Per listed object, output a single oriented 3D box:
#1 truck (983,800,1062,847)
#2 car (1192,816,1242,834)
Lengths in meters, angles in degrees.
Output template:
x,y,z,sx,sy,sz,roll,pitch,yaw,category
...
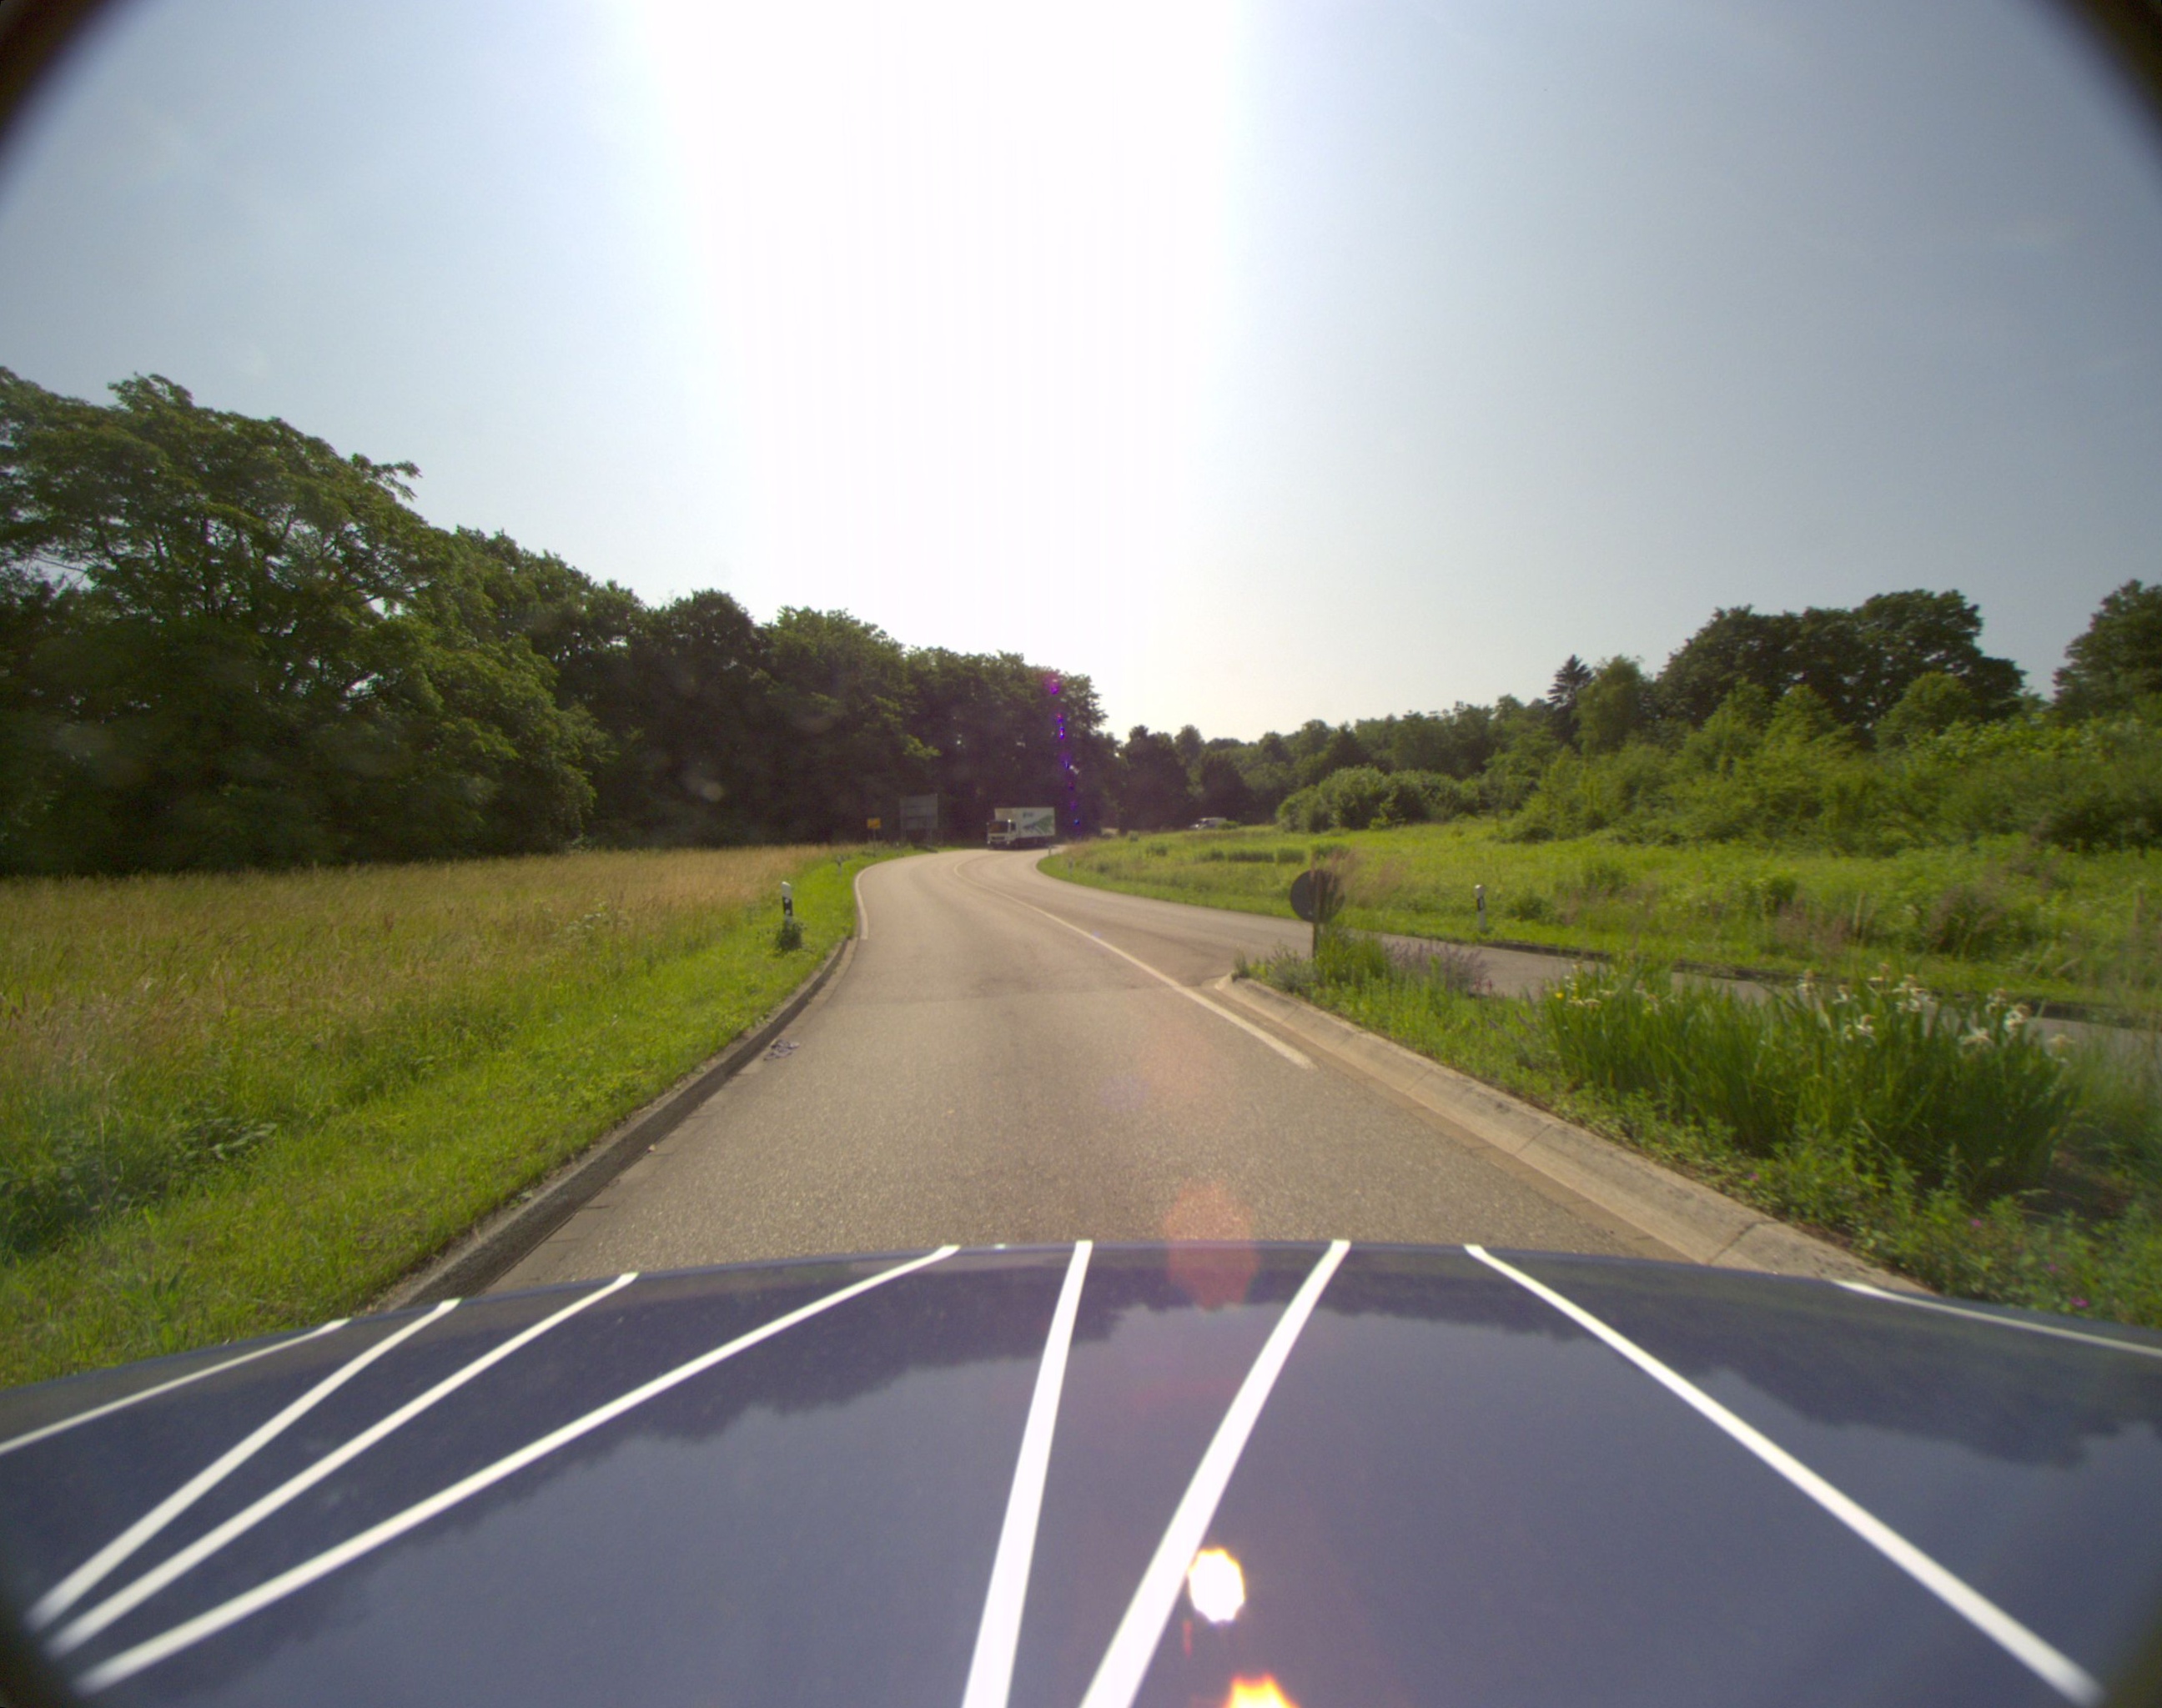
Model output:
x,y,z,sx,sy,sz,roll,pitch,yaw,category
-5.121,-2.686,68.490,2.893,3.807,9.037,-2,1,25,truck
16.142,-3.434,90.180,5.609,2.002,1.996,-3,1,-24,car
